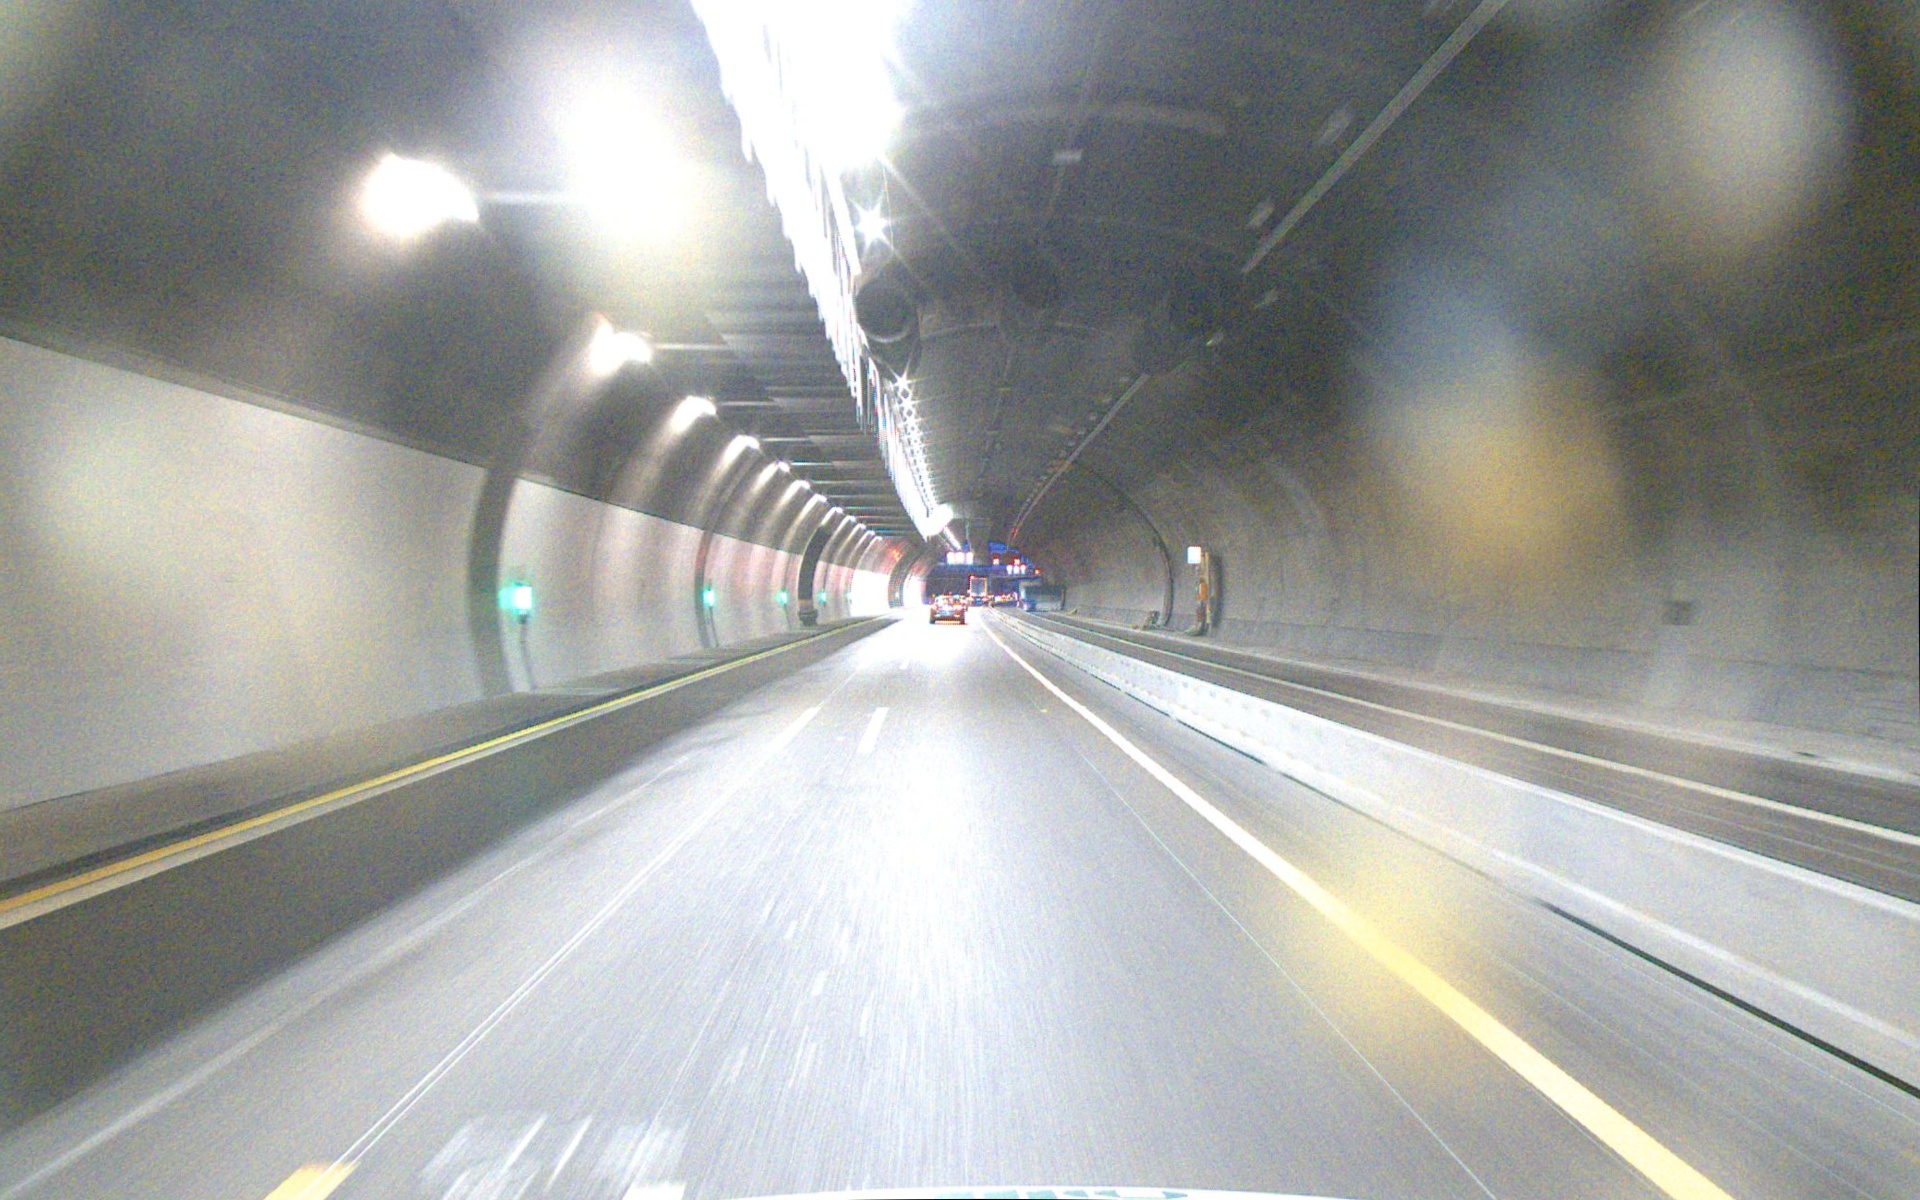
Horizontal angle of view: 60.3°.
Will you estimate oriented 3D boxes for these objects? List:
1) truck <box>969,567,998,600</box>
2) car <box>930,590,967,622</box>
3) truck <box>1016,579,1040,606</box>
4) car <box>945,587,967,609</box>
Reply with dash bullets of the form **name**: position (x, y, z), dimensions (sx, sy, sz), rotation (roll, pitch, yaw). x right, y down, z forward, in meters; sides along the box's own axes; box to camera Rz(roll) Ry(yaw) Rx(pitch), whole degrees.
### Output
- **truck**: position (3.648, -2.512, 257.364), dimensions (4.452, 5.074, 9.599), rotation (1, 0, 1)
- **car**: position (-0.647, 0.302, 87.240), dimensions (1.850, 1.635, 3.998), rotation (1, 0, -2)
- **truck**: position (8.523, -0.891, 209.034), dimensions (2.832, 3.329, 8.402), rotation (1, 0, 1)
- **car**: position (-0.349, -0.193, 153.982), dimensions (1.953, 2.049, 3.999), rotation (1, 0, -1)
